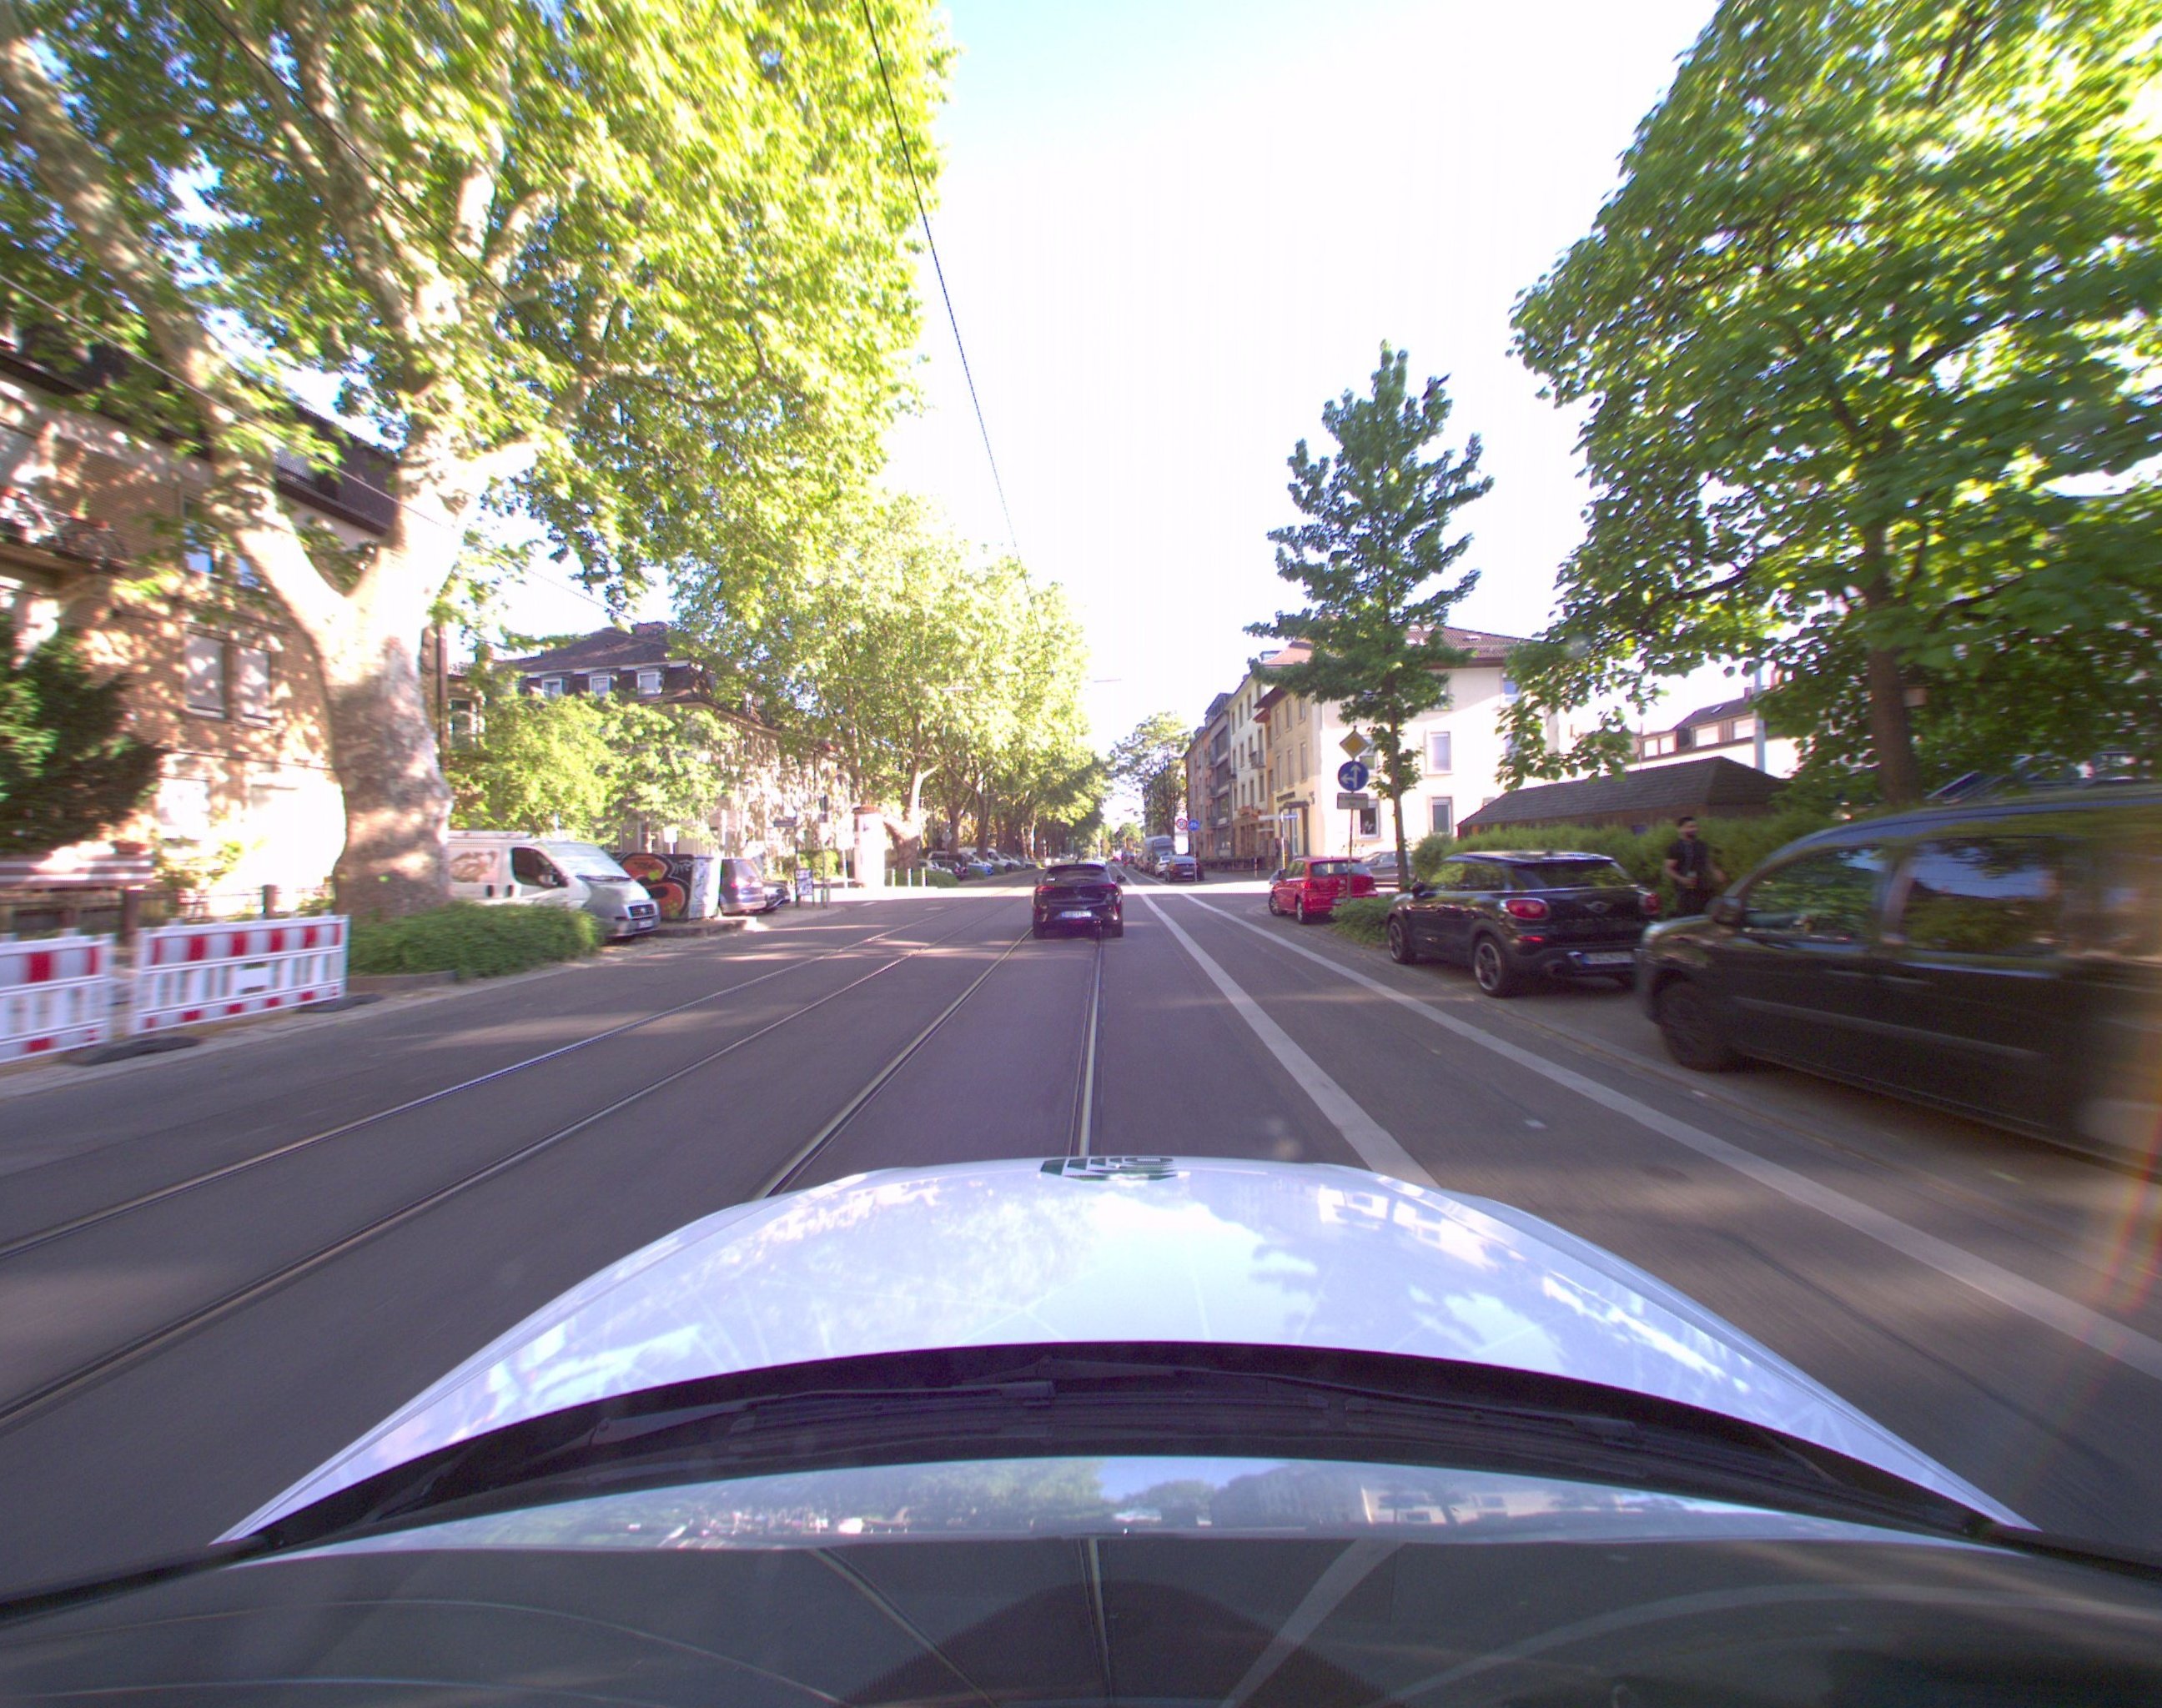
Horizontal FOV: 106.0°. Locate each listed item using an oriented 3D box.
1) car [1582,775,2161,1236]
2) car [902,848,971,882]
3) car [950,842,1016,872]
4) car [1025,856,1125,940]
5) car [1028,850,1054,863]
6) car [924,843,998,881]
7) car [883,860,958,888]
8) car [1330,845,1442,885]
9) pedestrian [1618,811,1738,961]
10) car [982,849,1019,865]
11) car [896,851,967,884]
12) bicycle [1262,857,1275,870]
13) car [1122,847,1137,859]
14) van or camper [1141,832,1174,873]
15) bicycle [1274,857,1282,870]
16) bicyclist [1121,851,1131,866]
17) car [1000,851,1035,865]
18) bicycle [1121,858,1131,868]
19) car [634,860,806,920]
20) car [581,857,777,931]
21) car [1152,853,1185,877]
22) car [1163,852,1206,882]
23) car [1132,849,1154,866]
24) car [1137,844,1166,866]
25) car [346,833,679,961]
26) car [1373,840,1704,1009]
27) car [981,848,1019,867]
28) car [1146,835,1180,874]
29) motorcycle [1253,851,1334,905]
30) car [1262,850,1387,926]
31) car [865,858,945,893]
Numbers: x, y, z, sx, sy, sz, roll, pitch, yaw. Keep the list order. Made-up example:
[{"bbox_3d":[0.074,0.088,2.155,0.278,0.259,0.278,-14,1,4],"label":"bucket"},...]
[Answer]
[{"bbox_3d":[5.082,0.528,4.425,1.878,1.766,4.680,-3,0,2],"label":"car"},{"bbox_3d":[-9.761,0.748,55.269,4.294,1.840,1.779,-5,0,-6],"label":"car"},{"bbox_3d":[-8.929,0.287,74.675,5.611,2.593,2.199,-1,0,5],"label":"car"},{"bbox_3d":[-0.032,0.794,16.539,1.756,1.460,3.952,-1,0,2],"label":"car"},{"bbox_3d":[-6.680,0.417,137.311,3.964,2.013,2.005,-1,0,8],"label":"car"},{"bbox_3d":[-9.098,0.578,61.956,5.017,2.374,2.082,-5,0,2],"label":"car"},{"bbox_3d":[-9.978,1.223,50.909,4.294,1.290,1.707,-5,0,-6],"label":"car"},{"bbox_3d":[13.054,0.470,35.098,4.167,1.598,1.893,-1,0,5],"label":"car"},{"bbox_3d":[7.354,0.364,10.050,0.834,1.711,0.828,-5,2,-25],"label":"pedestrian"},{"bbox_3d":[-9.480,0.392,95.596,4.173,1.794,1.995,-1,0,-7],"label":"car"},{"bbox_3d":[-9.665,0.864,52.937,4.294,1.674,1.779,-5,0,-6],"label":"car"},{"bbox_3d":[11.606,0.574,50.378,0.408,0.789,1.792,-1,0,2],"label":"bicycle"},{"bbox_3d":[8.239,-0.174,139.060,2.246,1.840,5.533,-3,0,2],"label":"car"},{"bbox_3d":[6.394,-0.146,68.802,2.246,3.215,5.533,-3,0,2],"label":"van or camper"},{"bbox_3d":[11.909,0.572,49.190,0.471,0.789,1.798,-1,0,13],"label":"bicycle"},{"bbox_3d":[4.663,0.491,84.162,0.955,1.499,1.094,-1,0,0],"label":"bicyclist"},{"bbox_3d":[-7.892,0.519,101.028,4.351,1.665,1.995,-1,0,-8],"label":"car"},{"bbox_3d":[4.660,0.927,84.173,0.964,0.999,2.583,-1,0,0],"label":"bicycle"},{"bbox_3d":[-10.848,1.065,24.680,4.287,1.607,1.925,-1,0,-1],"label":"car"},{"bbox_3d":[-10.762,1.032,22.042,4.287,1.801,1.925,-1,0,-1],"label":"car"},{"bbox_3d":[5.871,0.731,54.947,1.797,1.434,4.001,-3,-1,2],"label":"car"},{"bbox_3d":[5.647,0.673,44.941,1.877,1.434,4.532,-4,0,2],"label":"car"},{"bbox_3d":[7.360,0.427,97.314,2.246,1.840,5.533,-3,0,2],"label":"car"},{"bbox_3d":[6.533,0.072,76.004,2.246,1.840,5.533,-3,0,2],"label":"car"},{"bbox_3d":[-11.018,0.777,16.114,5.019,2.259,2.084,-1,0,-2],"label":"car"},{"bbox_3d":[5.166,0.681,9.924,1.706,1.514,4.037,-4,0,1],"label":"car"},{"bbox_3d":[-8.771,0.356,87.795,3.983,2.013,1.995,-1,0,-7],"label":"car"},{"bbox_3d":[6.207,-0.011,62.240,2.077,2.772,4.699,-3,1,2],"label":"car"},{"bbox_3d":[5.993,0.677,22.946,2.073,1.358,0.928,-4,-1,18],"label":"motorcycle"},{"bbox_3d":[5.487,0.702,18.850,1.696,1.423,3.980,-5,0,2],"label":"car"},{"bbox_3d":[-10.370,1.245,48.279,4.294,1.593,1.779,-5,0,-6],"label":"car"}]
